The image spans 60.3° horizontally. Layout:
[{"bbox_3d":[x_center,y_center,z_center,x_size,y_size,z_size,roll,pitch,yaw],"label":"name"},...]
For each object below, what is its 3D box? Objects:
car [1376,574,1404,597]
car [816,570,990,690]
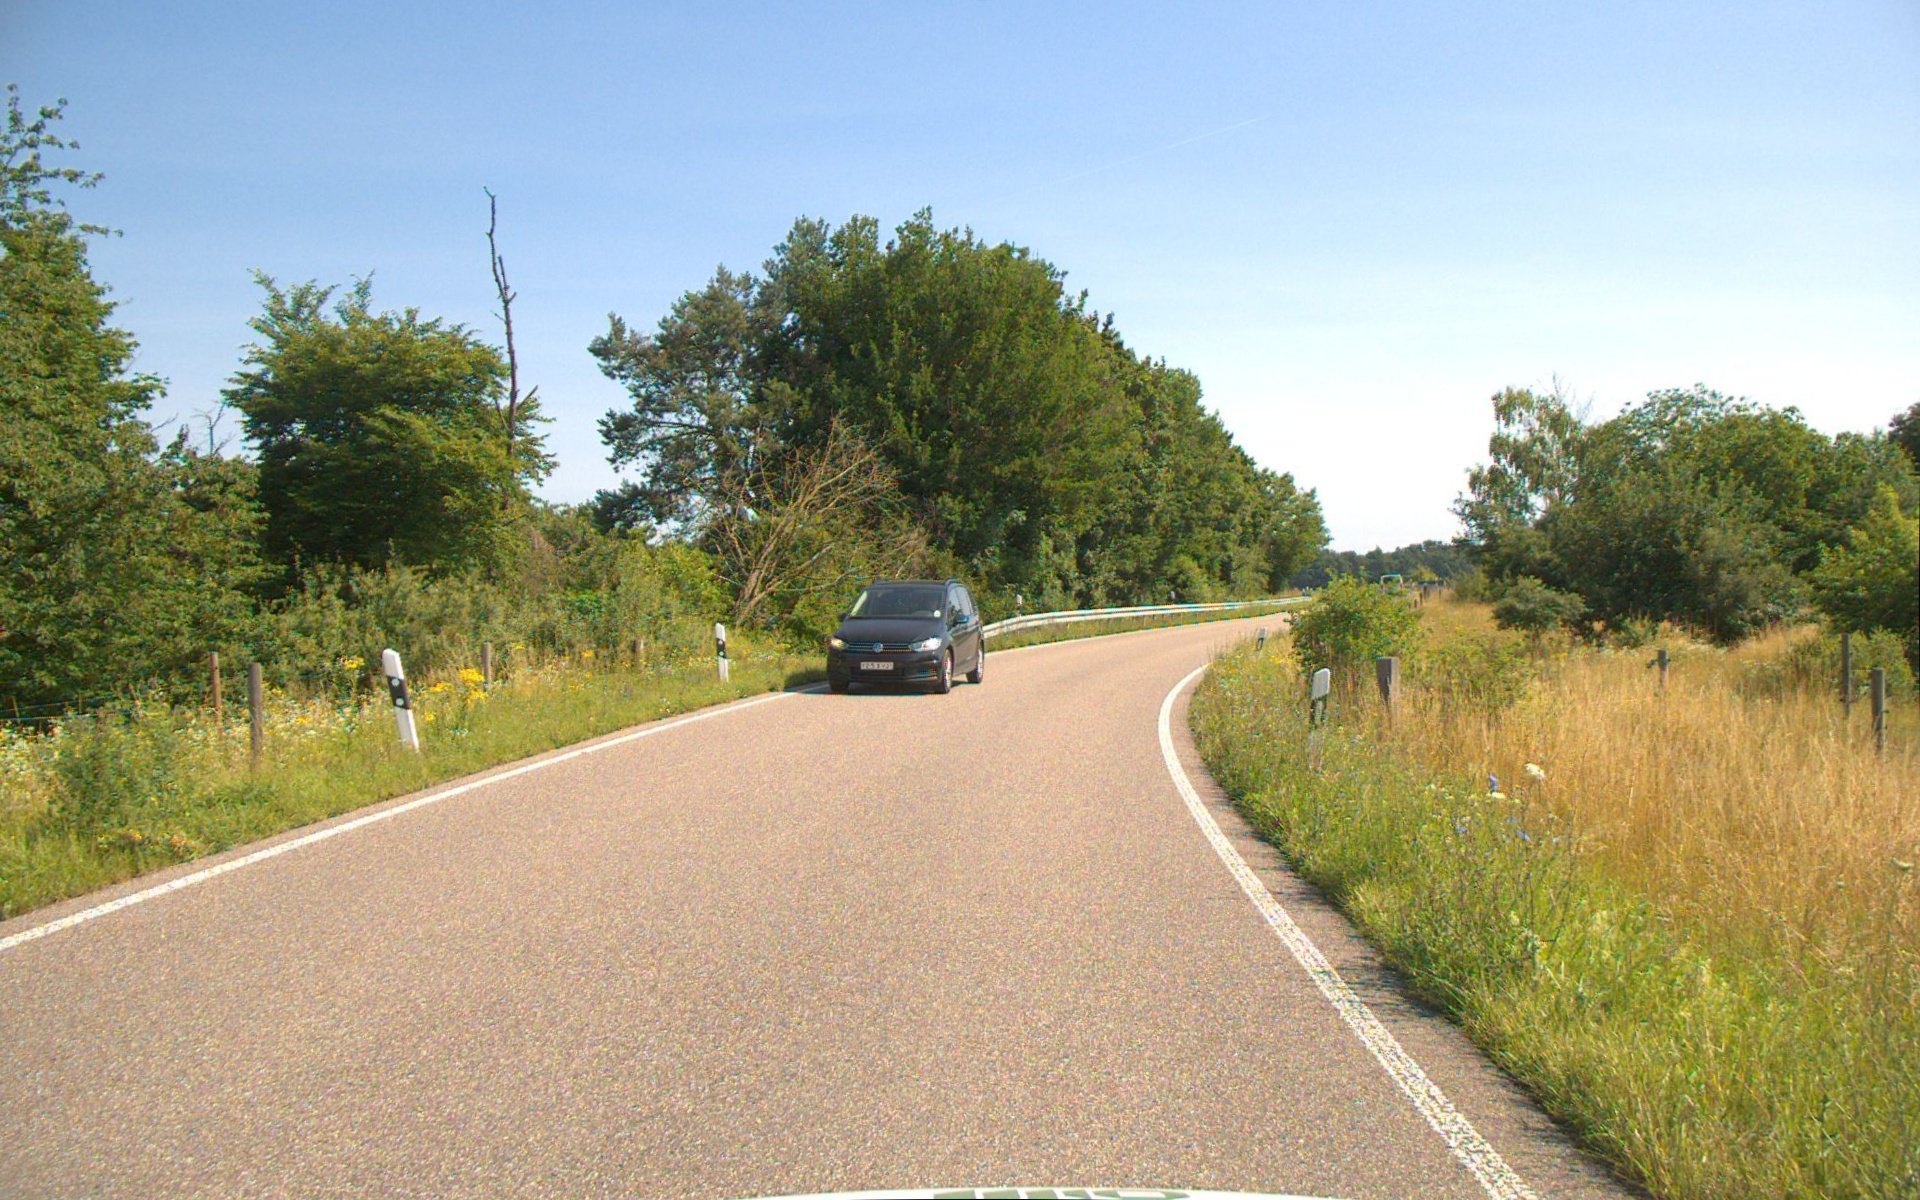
[{"bbox_3d":[35.564,-1.203,136.754,1.921,1.834,4.162,0,-1,18],"label":"car"},{"bbox_3d":[-0.769,0.449,25.204,1.746,1.660,4.164,0,-1,11],"label":"car"}]
